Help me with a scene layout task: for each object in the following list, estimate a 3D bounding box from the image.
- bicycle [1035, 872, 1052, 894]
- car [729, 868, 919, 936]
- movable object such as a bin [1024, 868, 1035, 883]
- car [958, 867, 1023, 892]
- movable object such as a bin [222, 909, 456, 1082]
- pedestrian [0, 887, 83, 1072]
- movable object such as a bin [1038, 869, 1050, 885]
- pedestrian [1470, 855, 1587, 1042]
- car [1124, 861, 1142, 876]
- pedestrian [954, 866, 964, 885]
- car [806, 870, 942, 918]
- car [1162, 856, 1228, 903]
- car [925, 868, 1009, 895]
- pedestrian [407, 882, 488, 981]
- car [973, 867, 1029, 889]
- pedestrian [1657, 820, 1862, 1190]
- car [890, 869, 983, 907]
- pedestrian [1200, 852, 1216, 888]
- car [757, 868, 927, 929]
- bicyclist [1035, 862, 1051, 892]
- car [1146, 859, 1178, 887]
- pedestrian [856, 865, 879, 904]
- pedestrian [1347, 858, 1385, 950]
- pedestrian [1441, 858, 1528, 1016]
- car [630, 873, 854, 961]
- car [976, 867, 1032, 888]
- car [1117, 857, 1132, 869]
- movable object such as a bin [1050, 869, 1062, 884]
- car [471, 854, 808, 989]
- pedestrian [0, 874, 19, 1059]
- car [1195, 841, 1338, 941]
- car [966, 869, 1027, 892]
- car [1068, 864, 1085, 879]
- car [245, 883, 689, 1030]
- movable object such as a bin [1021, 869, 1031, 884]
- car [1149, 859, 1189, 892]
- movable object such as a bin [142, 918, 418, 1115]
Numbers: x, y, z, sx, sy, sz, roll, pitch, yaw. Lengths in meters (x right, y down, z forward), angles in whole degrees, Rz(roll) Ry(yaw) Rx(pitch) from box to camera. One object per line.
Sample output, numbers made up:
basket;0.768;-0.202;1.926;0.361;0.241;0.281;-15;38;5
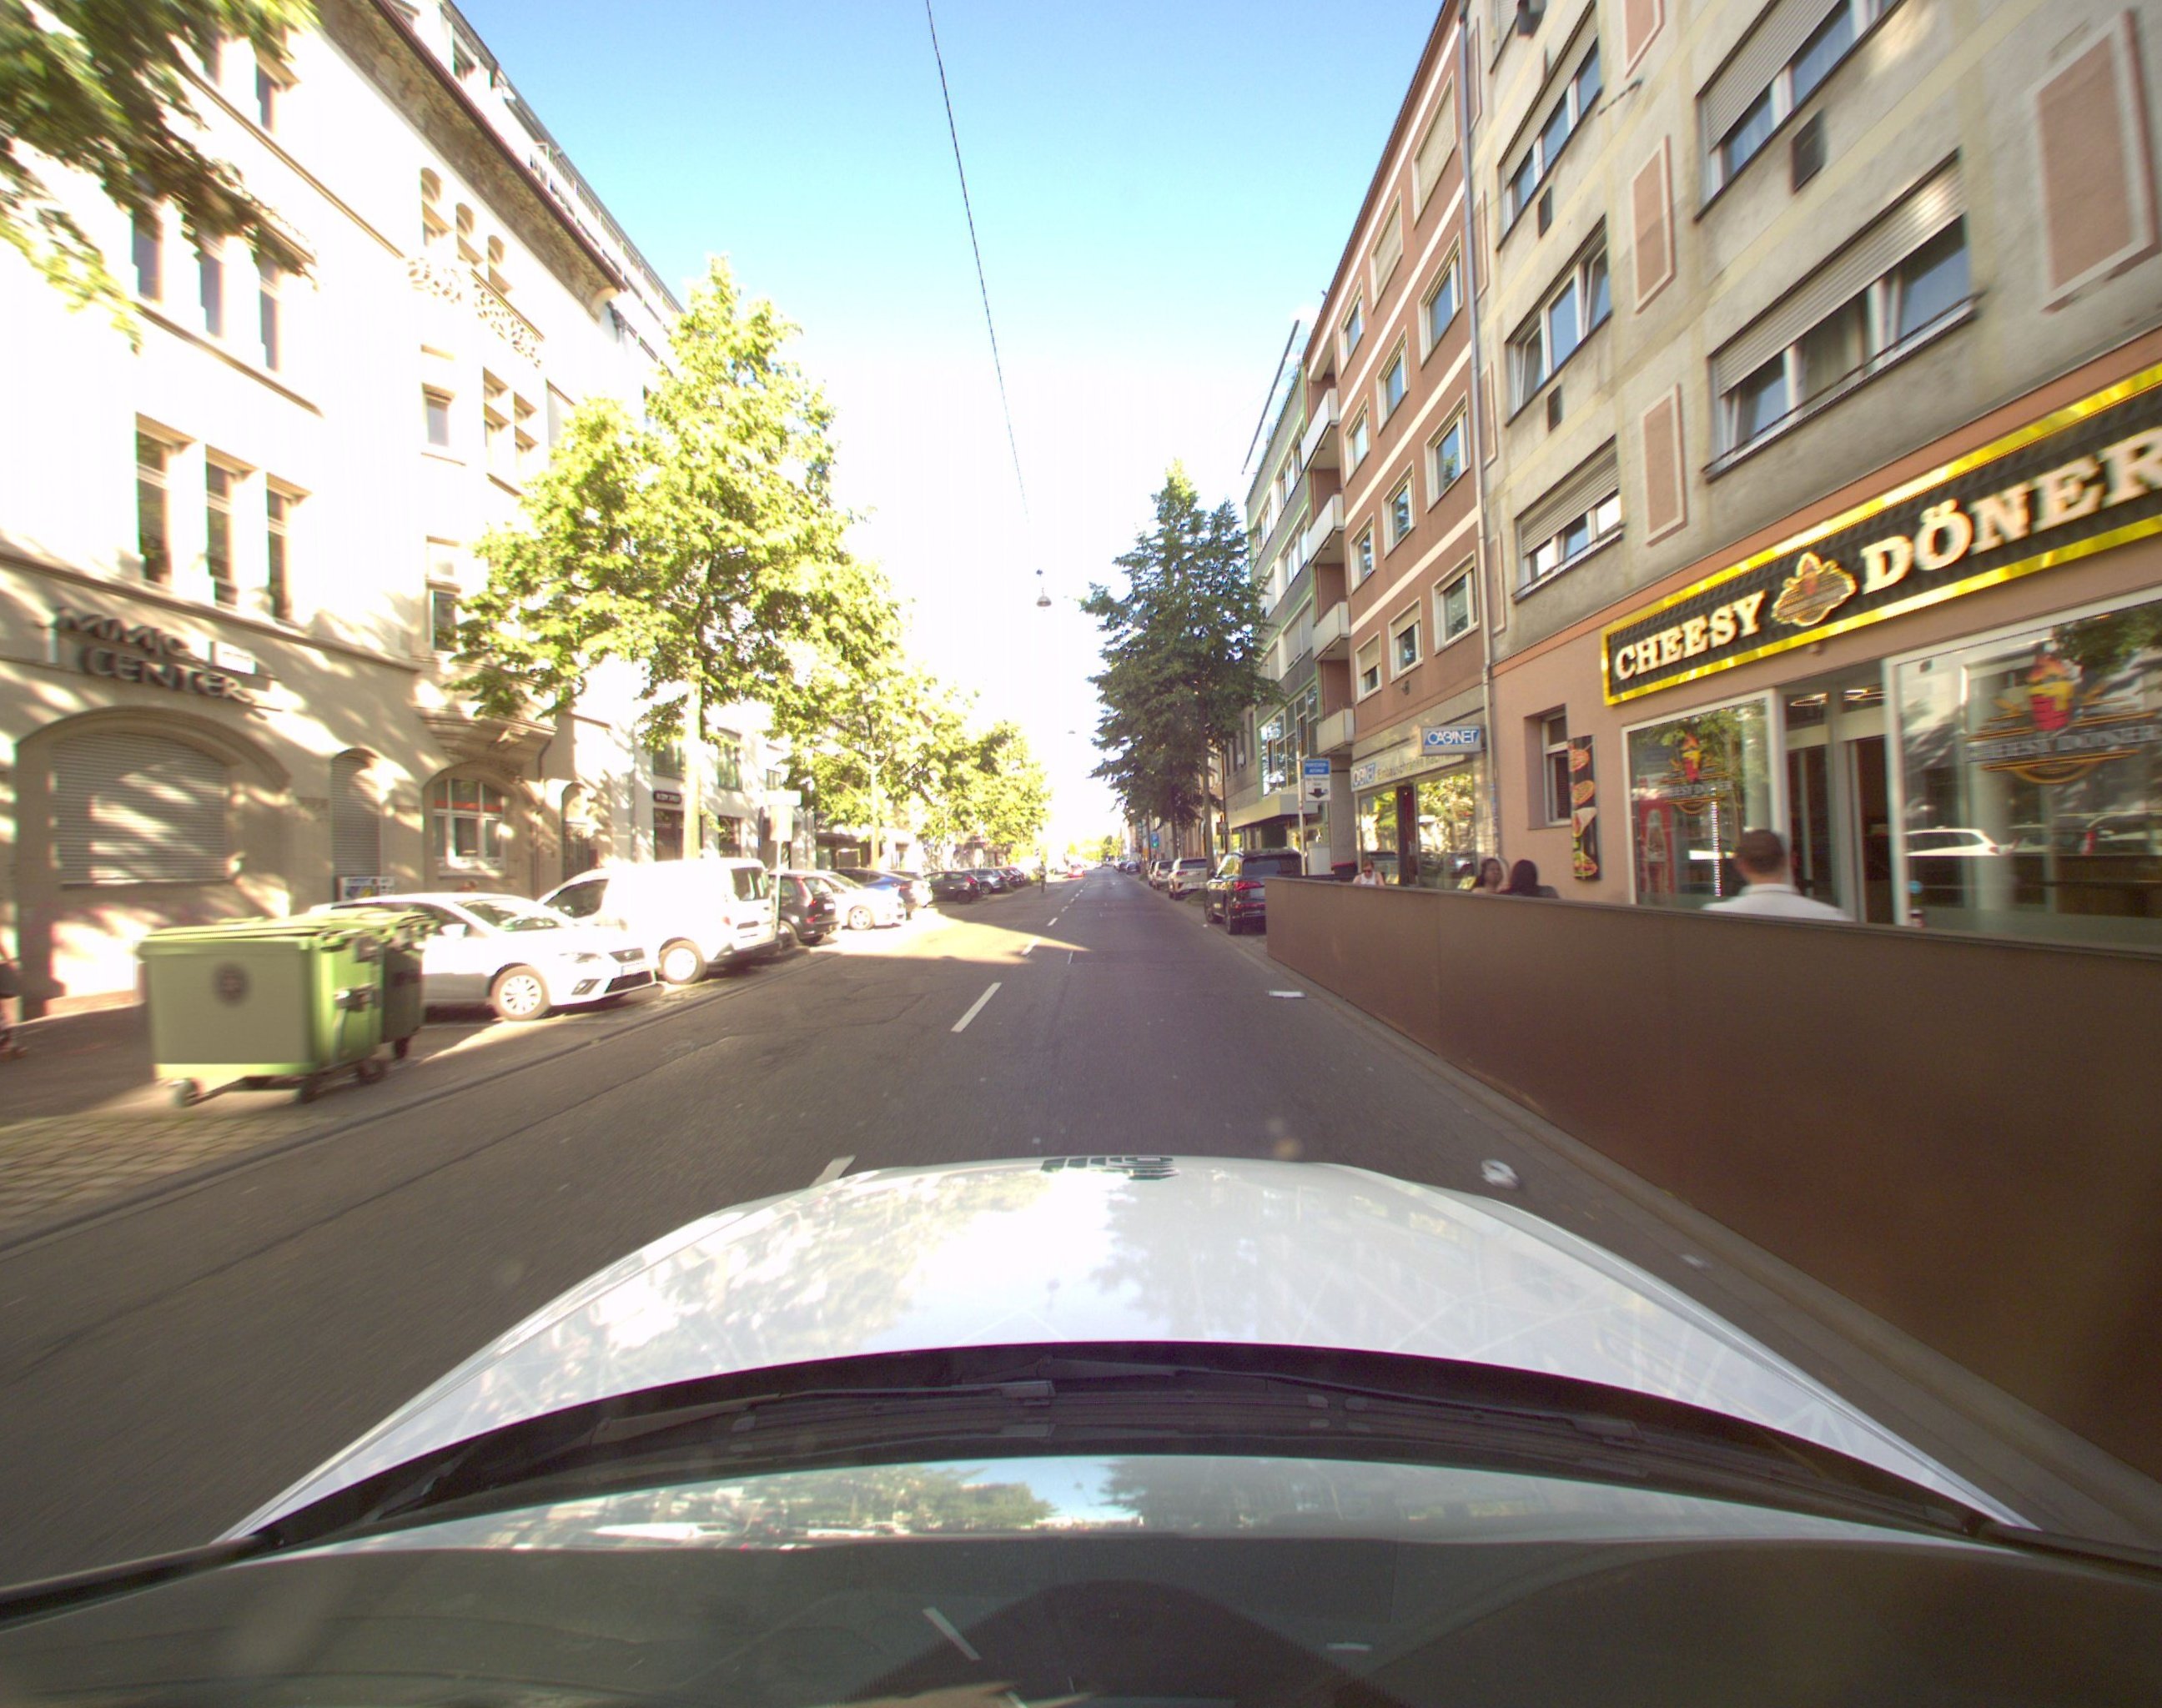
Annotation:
bicycle;-2.145;1.654;46.819;0.722;1.169;2.198;-2;-1;2
car;-6.755;1.240;21.740;4.350;1.570;1.947;-2;-1;2
movable object such as a bin;-5.099;2.130;80.238;0.960;1.471;1.143;-3;-1;0
car;-5.852;1.639;52.729;3.903;1.485;1.772;-2;-1;3
movable object such as a bin;-6.540;1.211;7.250;1.188;1.345;0.932;-2;-1;0
pedestrian;-9.953;1.133;7.481;0.563;1.627;0.727;2;-1;0
movable object such as a bin;-3.608;2.227;80.059;1.038;1.471;1.143;-3;-1;0
pedestrian;3.477;0.707;6.365;0.550;1.379;0.594;-2;-1;2
car;6.325;1.750;99.203;1.910;1.478;4.966;-6;-1;2
pedestrian;-9.209;1.647;61.428;0.505;1.408;0.826;-1;0;6
car;-7.225;1.372;28.774;4.235;1.459;1.978;-2;-1;-2
car;4.269;0.919;31.031;1.876;1.527;4.234;-5;-1;1
car;-6.422;1.550;46.289;4.478;1.459;1.790;-1;-1;0
pedestrian;-10.067;1.204;12.964;0.590;1.494;0.843;0;-1;3
car;-5.695;1.708;58.030;3.735;1.468;1.740;-2;-1;1
pedestrian;2.996;0.634;3.633;0.471;1.529;0.462;-2;-1;2
car;-6.235;1.464;35.451;3.775;1.459;1.777;-2;-1;-6
pedestrian;6.483;0.806;41.559;0.620;1.765;0.771;-5;-1;2
car;-6.972;1.278;24.098;4.350;1.570;1.981;-2;-1;2
bicyclist;-2.158;1.315;46.671;0.722;1.700;1.283;-2;-1;2
car;4.877;1.157;49.345;1.608;1.529;3.061;-4;-1;1
pedestrian;-10.073;1.447;38.412;0.694;1.797;0.748;-2;-1;13
pedestrian;4.248;0.731;12.119;0.468;1.331;0.485;-2;-1;21
pedestrian;3.650;0.729;7.401;0.471;1.362;0.594;-2;-1;2
car;-6.843;1.245;16.716;3.785;1.558;1.792;-2;-1;2
car;-6.140;1.874;65.528;4.185;1.468;1.741;-2;-1;3
car;6.335;1.332;118.798;1.966;1.725;4.826;-1;0;2
movable object such as a bin;-2.451;2.224;80.175;1.038;1.471;1.452;-3;-1;0
car;-6.687;0.976;12.694;4.090;1.836;2.039;-2;-1;2
pedestrian;-10.710;1.068;7.490;0.772;1.766;0.763;2;-1;-1
car;3.780;0.718;17.504;1.987;1.689;4.517;-6;-1;1
car;-5.718;1.772;55.433;3.825;1.429;1.791;-2;-1;3
car;-0.457;1.937;90.010;1.652;1.535;3.762;-4;-1;2
car;-7.240;1.169;9.927;3.964;1.464;1.888;-2;-1;2
movable object such as a bin;-4.945;2.023;73.142;0.752;1.341;0.805;-3;-1;0
car;4.637;1.110;43.542;1.608;1.528;4.235;-6;-1;1
movable object such as a bin;-6.127;1.206;6.300;1.233;1.302;0.870;-2;-1;0
